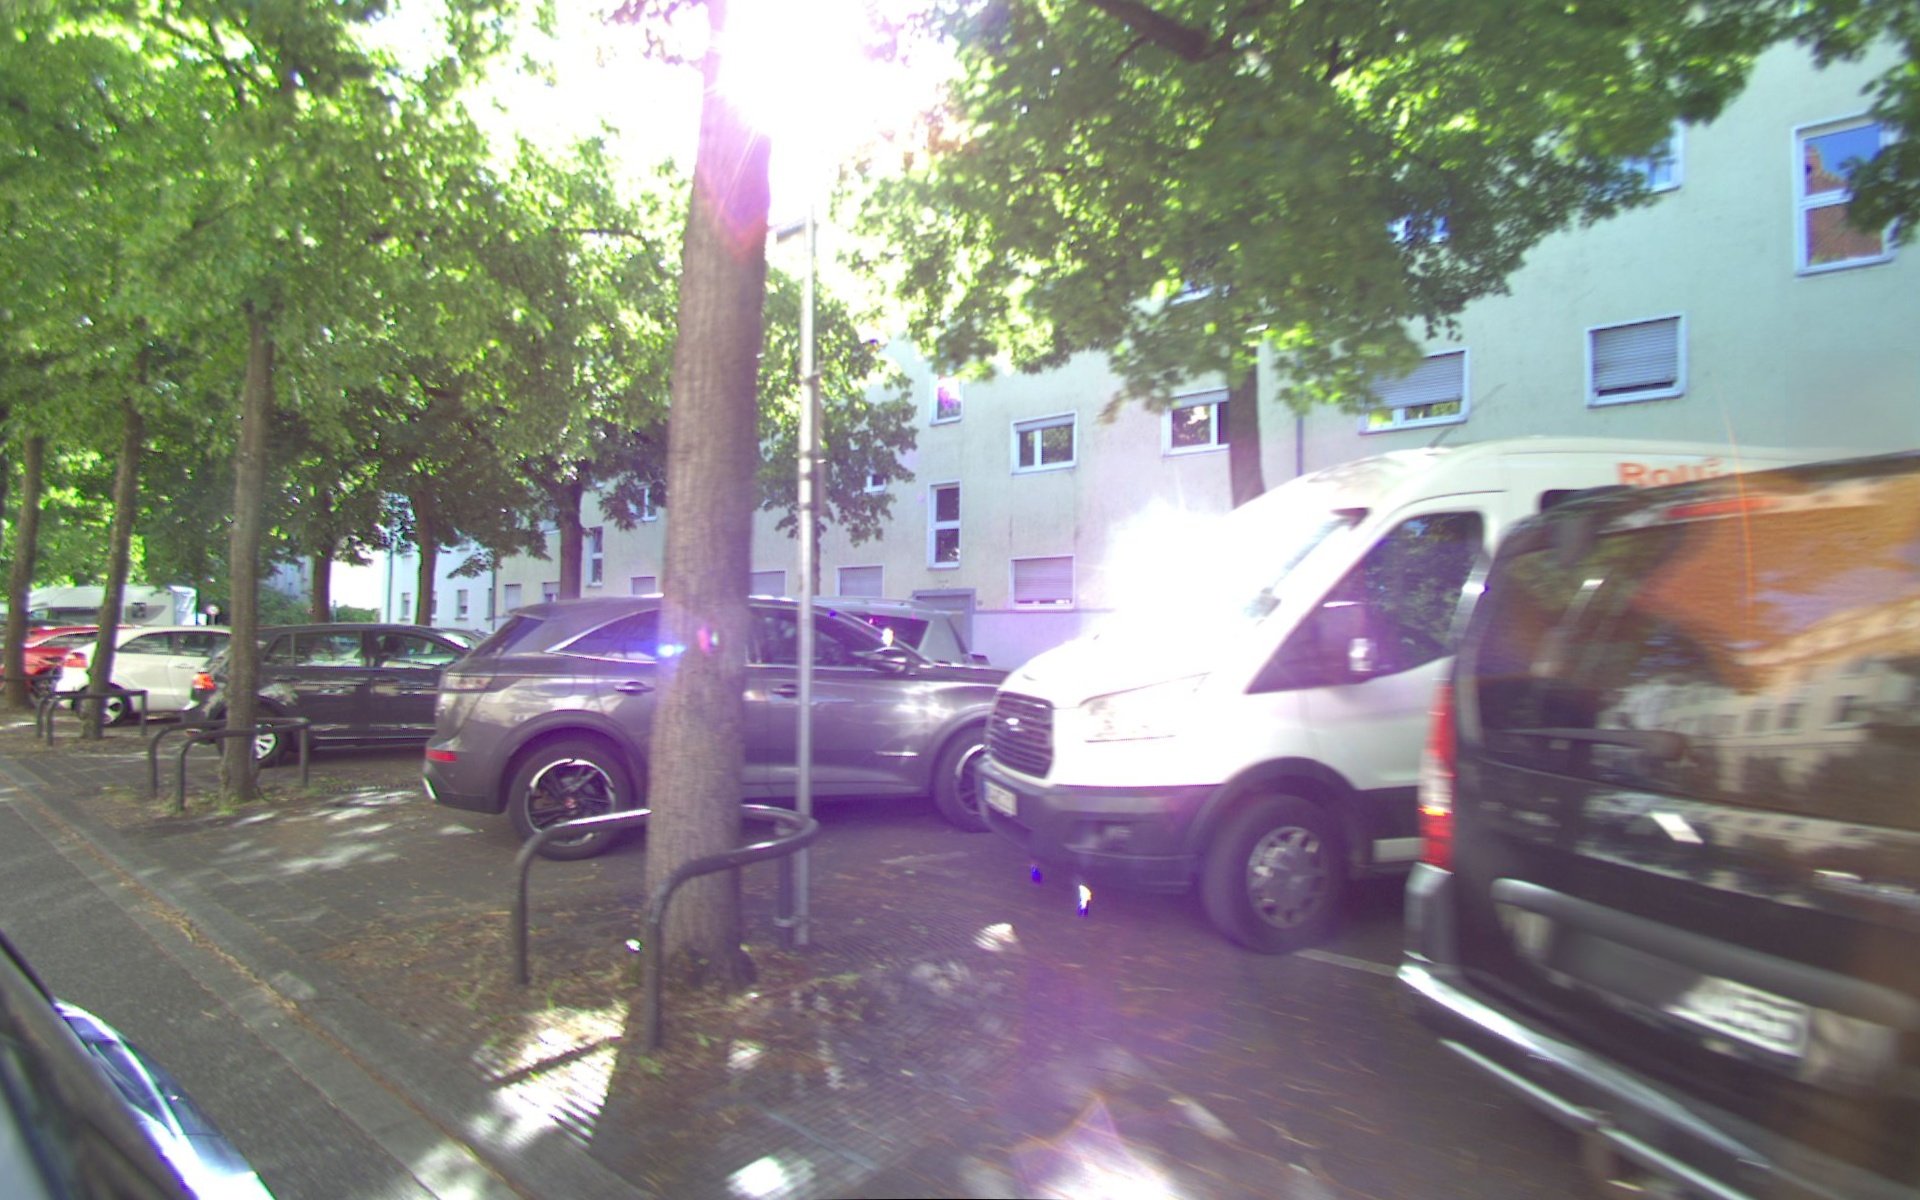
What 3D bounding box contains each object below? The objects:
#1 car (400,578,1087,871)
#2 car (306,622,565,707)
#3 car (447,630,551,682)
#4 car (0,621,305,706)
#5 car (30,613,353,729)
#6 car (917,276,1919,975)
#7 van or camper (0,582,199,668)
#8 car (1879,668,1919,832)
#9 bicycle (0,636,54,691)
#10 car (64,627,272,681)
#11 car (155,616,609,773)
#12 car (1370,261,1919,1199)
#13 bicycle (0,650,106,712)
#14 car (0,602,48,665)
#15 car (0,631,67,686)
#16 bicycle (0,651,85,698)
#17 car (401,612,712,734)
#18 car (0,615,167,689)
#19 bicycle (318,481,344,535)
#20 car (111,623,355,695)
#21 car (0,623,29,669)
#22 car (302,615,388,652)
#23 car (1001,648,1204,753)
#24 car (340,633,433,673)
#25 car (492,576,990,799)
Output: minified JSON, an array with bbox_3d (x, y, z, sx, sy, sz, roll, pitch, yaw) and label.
[{"bbox_3d":[-1.398,0.710,7.125,4.203,1.654,1.660,0,-1,-17],"label":"car"},{"bbox_3d":[-9.488,1.156,18.667,3.932,1.446,1.802,1,-2,-15],"label":"car"},{"bbox_3d":[-14.998,1.821,32.851,3.575,1.588,1.600,-2,-5,39],"label":"car"},{"bbox_3d":[-15.605,1.182,19.619,4.550,1.497,1.766,0,-2,-16],"label":"car"},{"bbox_3d":[-11.571,1.013,15.577,3.630,1.608,1.778,0,-2,-24],"label":"car"},{"bbox_3d":[2.995,0.204,5.913,5.980,2.643,2.463,2,-2,-18],"label":"car"},{"bbox_3d":[-30.789,0.868,35.400,6.197,2.846,2.415,0,-2,-20],"label":"van or camper"},{"bbox_3d":[11.633,1.477,9.315,4.588,1.528,1.753,-2,-1,41],"label":"car"},{"bbox_3d":[-20.588,1.364,21.699,1.662,1.167,0.380,0,-2,-30],"label":"bicycle"},{"bbox_3d":[-21.676,1.450,27.892,4.127,1.401,1.823,1,-2,-15],"label":"car"},{"bbox_3d":[-6.030,0.956,11.136,4.039,1.492,1.737,1,-2,-18],"label":"car"},{"bbox_3d":[3.254,0.455,2.434,3.786,1.903,1.848,1,-3,-14],"label":"car"},{"bbox_3d":[-15.771,1.374,17.271,1.786,1.001,0.427,0,-2,-34],"label":"bicycle"},{"bbox_3d":[-42.530,1.384,42.199,6.220,2.578,2.345,1,-2,-17],"label":"car"},{"bbox_3d":[-27.216,1.566,27.582,3.953,1.485,1.630,2,-3,-14],"label":"car"},{"bbox_3d":[-19.293,1.533,20.843,1.871,0.926,0.380,0,-2,-30],"label":"bicycle"},{"bbox_3d":[-5.633,1.047,14.513,3.848,1.567,1.852,2,-3,-18],"label":"car"},{"bbox_3d":[-21.737,1.215,24.187,4.018,1.665,1.869,0,-2,-22],"label":"car"},{"bbox_3d":[-16.553,-2.405,26.650,0.350,1.209,1.807,0,-1,-25],"label":"bicycle"},{"bbox_3d":[-15.995,1.289,22.538,4.045,1.484,1.877,1,-2,-20],"label":"car"},{"bbox_3d":[-35.973,1.609,36.376,3.837,1.630,1.659,0,-3,10],"label":"car"},{"bbox_3d":[-26.009,1.443,42.761,4.077,1.447,1.732,-2,-5,39],"label":"car"},{"bbox_3d":[2.417,1.660,17.533,3.181,1.571,1.460,-2,-1,40],"label":"car"},{"bbox_3d":[-21.712,1.982,38.267,4.300,1.409,1.628,-2,-1,39],"label":"car"},{"bbox_3d":[-2.084,0.782,9.827,4.318,1.791,1.905,2,-2,-21],"label":"car"}]
